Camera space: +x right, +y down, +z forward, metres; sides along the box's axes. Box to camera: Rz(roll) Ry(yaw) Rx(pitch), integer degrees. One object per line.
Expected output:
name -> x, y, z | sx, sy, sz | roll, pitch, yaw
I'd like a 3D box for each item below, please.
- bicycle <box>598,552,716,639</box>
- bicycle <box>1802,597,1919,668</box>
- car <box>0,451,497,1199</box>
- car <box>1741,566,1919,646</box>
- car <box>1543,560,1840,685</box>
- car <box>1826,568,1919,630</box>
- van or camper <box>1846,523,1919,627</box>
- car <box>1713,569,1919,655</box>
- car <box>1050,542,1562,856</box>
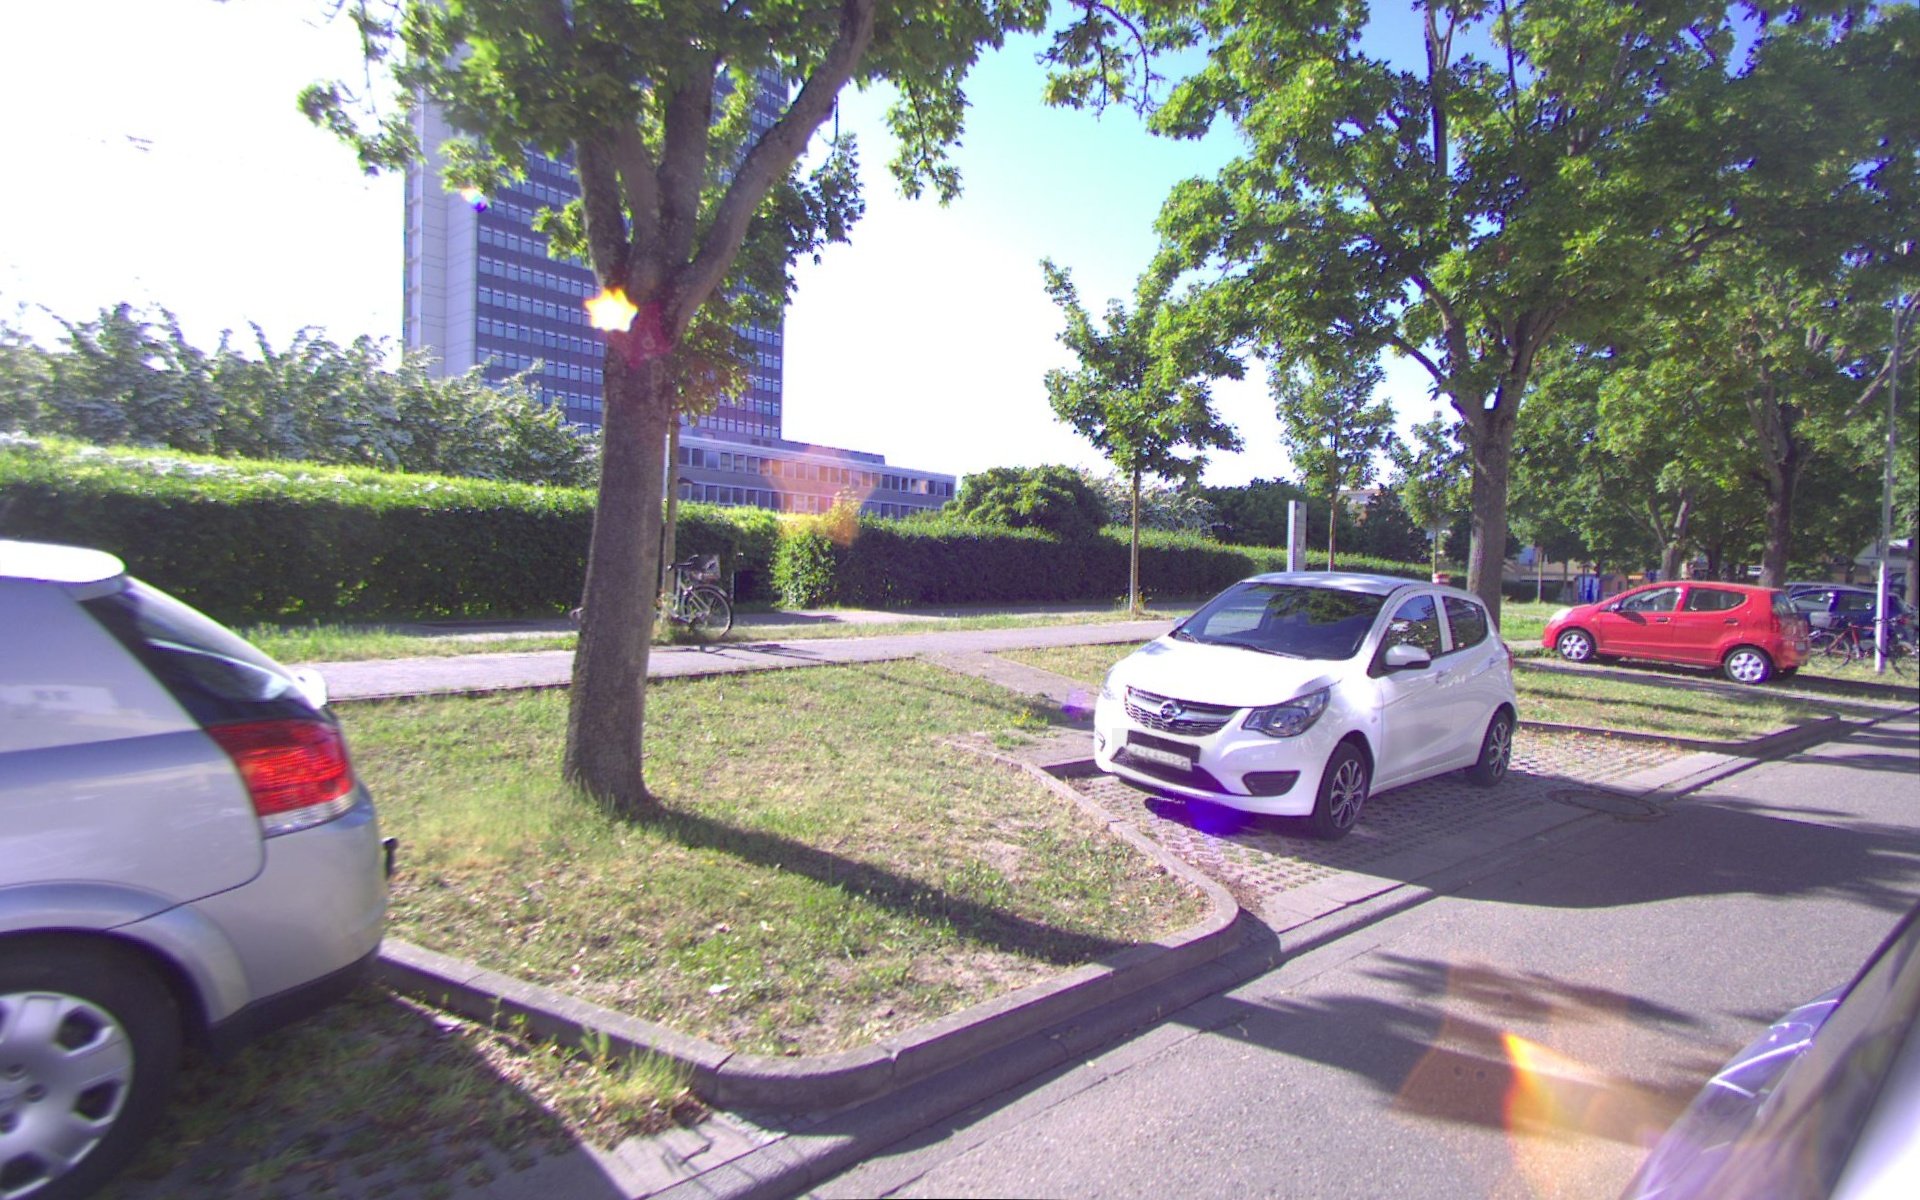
bicycle -> -3.296, -0.070, 11.109 | 0.344, 0.877, 1.395 | 3, 3, 28
bicycle -> 14.911, 0.514, 16.458 | 0.519, 1.003, 1.761 | 1, 4, -25
car -> -3.441, 0.407, 1.635 | 1.810, 1.511, 4.552 | 6, 5, 43
car -> 21.166, 0.137, 23.632 | 1.824, 1.564, 4.210 | 0, 5, -36
car -> 11.574, 0.257, 16.211 | 1.597, 1.562, 3.448 | 0, 5, -36
car -> 27.120, 0.040, 28.240 | 1.825, 1.564, 4.162 | 0, 5, -39
van or camper -> 29.982, -0.597, 29.285 | 2.622, 3.019, 6.002 | 0, 5, -38
car -> 18.992, 0.195, 22.199 | 1.823, 1.496, 3.478 | 0, 5, -33
car -> 2.511, 0.453, 6.907 | 3.701, 1.511, 1.646 | 0, 5, -42
